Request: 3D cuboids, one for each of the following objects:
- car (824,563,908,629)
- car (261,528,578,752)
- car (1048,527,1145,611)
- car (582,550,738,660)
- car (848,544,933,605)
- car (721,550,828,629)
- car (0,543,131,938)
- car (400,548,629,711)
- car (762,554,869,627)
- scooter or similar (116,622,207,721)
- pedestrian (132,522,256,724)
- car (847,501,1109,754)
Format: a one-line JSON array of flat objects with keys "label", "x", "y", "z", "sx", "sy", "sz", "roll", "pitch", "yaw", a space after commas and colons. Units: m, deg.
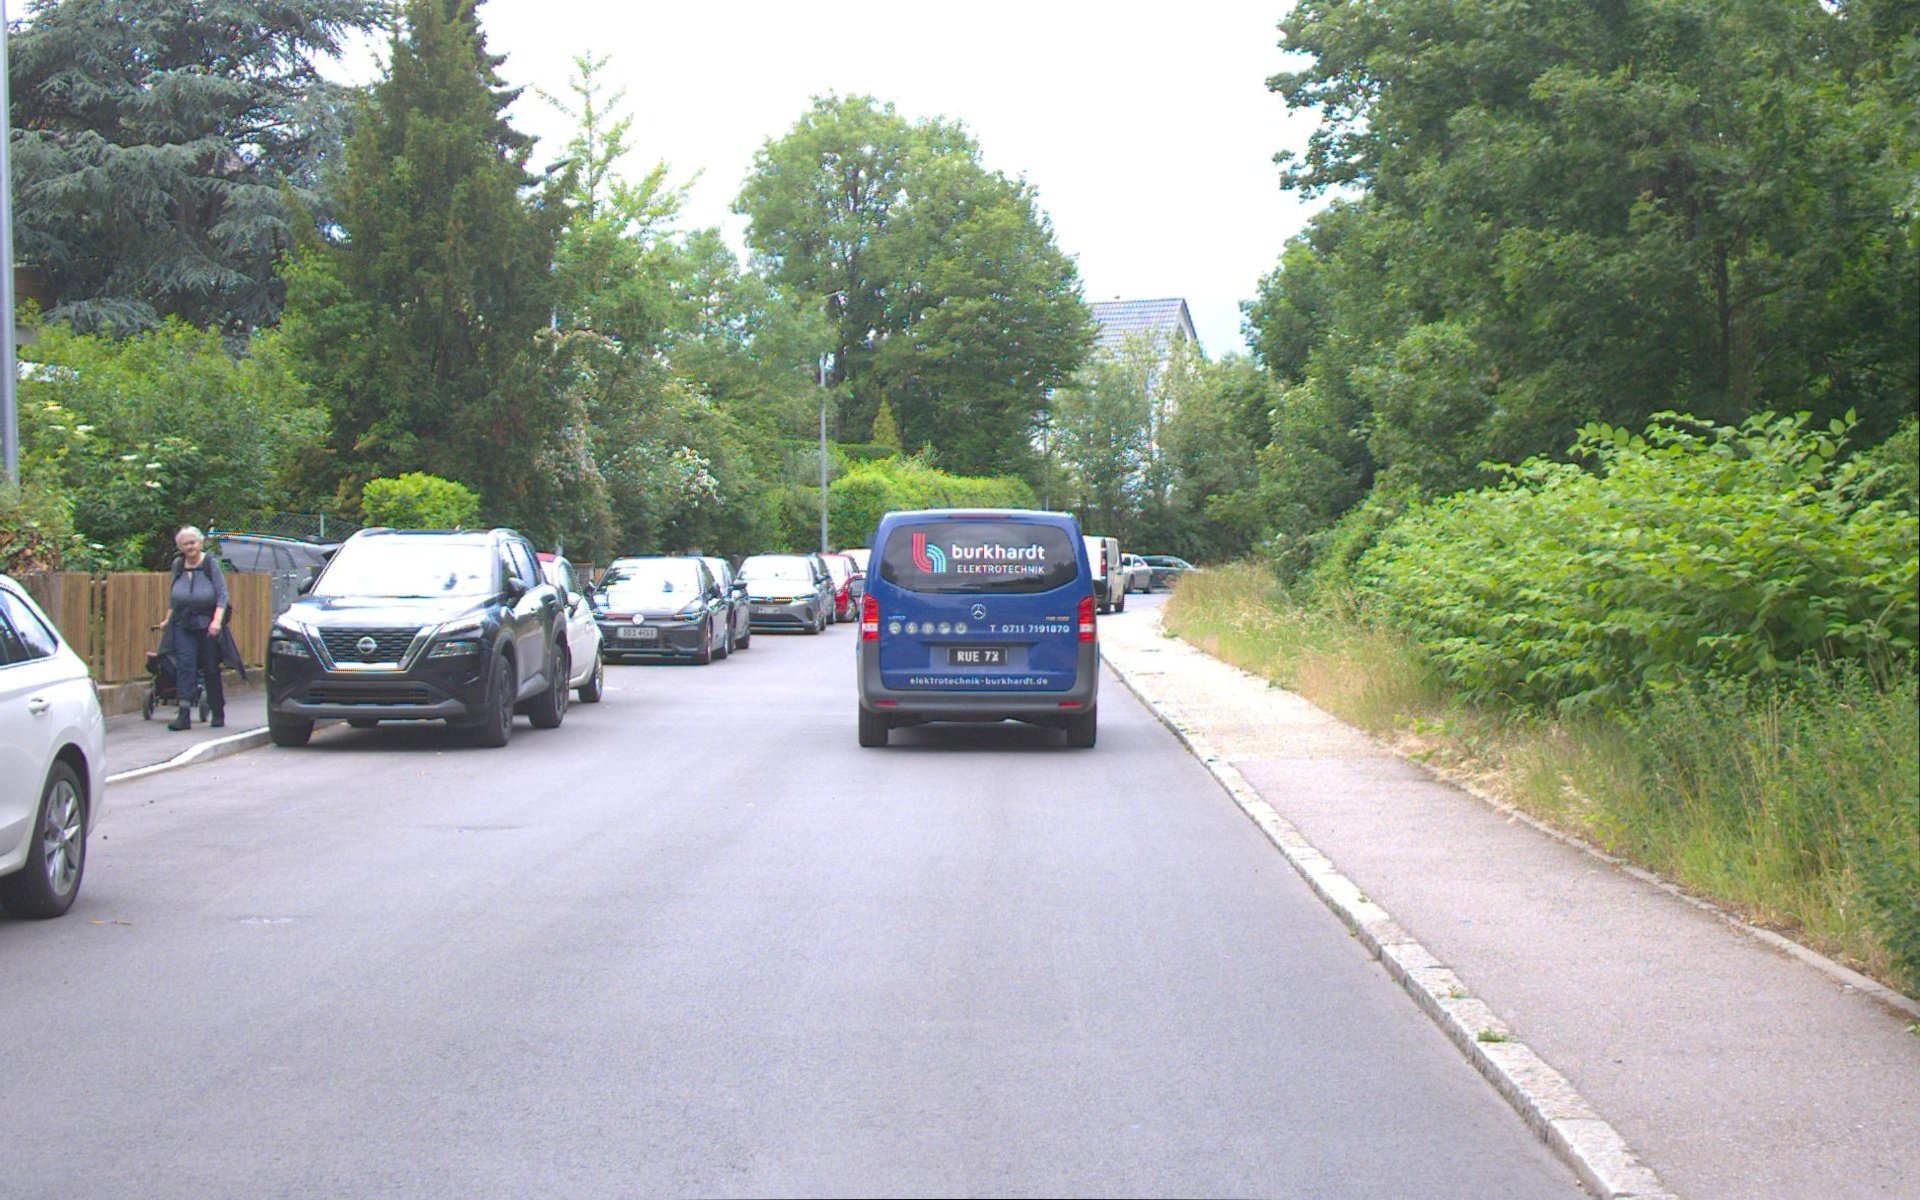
[{"label": "car", "x": -2.237, "y": -0.123, "z": 82.431, "sx": 1.544, "sy": 1.509, "sz": 3.643, "roll": 1, "pitch": 1, "yaw": 6}, {"label": "car", "x": -4.303, "y": 0.268, "z": 28.004, "sx": 1.792, "sy": 1.658, "sz": 4.392, "roll": 1, "pitch": 1, "yaw": 1}, {"label": "car", "x": 3.501, "y": -0.785, "z": 87.225, "sx": 2.206, "sy": 2.056, "sz": 6.134, "roll": 0, "pitch": 0, "yaw": 5}, {"label": "car", "x": -4.066, "y": 0.037, "z": 47.106, "sx": 1.707, "sy": 1.411, "sz": 4.149, "roll": 1, "pitch": 1, "yaw": 1}, {"label": "car", "x": -1.743, "y": -0.656, "z": 87.016, "sx": 1.589, "sy": 1.509, "sz": 3.589, "roll": 1, "pitch": 1, "yaw": 8}, {"label": "car", "x": -3.423, "y": -0.219, "z": 64.149, "sx": 1.707, "sy": 1.405, "sz": 4.161, "roll": 1, "pitch": 1, "yaw": 1}, {"label": "car", "x": -4.540, "y": 0.538, "z": 12.591, "sx": 1.707, "sy": 1.506, "sz": 4.554, "roll": 1, "pitch": 1, "yaw": 3}, {"label": "car", "x": -4.371, "y": 0.248, "z": 34.230, "sx": 1.707, "sy": 1.506, "sz": 3.946, "roll": 1, "pitch": 1, "yaw": 1}, {"label": "car", "x": -3.098, "y": -0.231, "z": 74.645, "sx": 1.707, "sy": 1.509, "sz": 4.363, "roll": 1, "pitch": 1, "yaw": 6}, {"label": "scooter or similar", "x": -6.466, "y": 0.576, "z": 27.859, "sx": 0.571, "sy": 0.776, "sz": 0.711, "roll": 0, "pitch": 1, "yaw": -1}, {"label": "pedestrian", "x": -6.070, "y": 0.173, "z": 27.284, "sx": 0.769, "sy": 1.569, "sz": 0.820, "roll": 1, "pitch": 1, "yaw": 2}, {"label": "car", "x": 0.120, "y": 0.172, "z": 27.964, "sx": 1.936, "sy": 1.873, "sz": 4.531, "roll": 1, "pitch": 1, "yaw": 0}]
